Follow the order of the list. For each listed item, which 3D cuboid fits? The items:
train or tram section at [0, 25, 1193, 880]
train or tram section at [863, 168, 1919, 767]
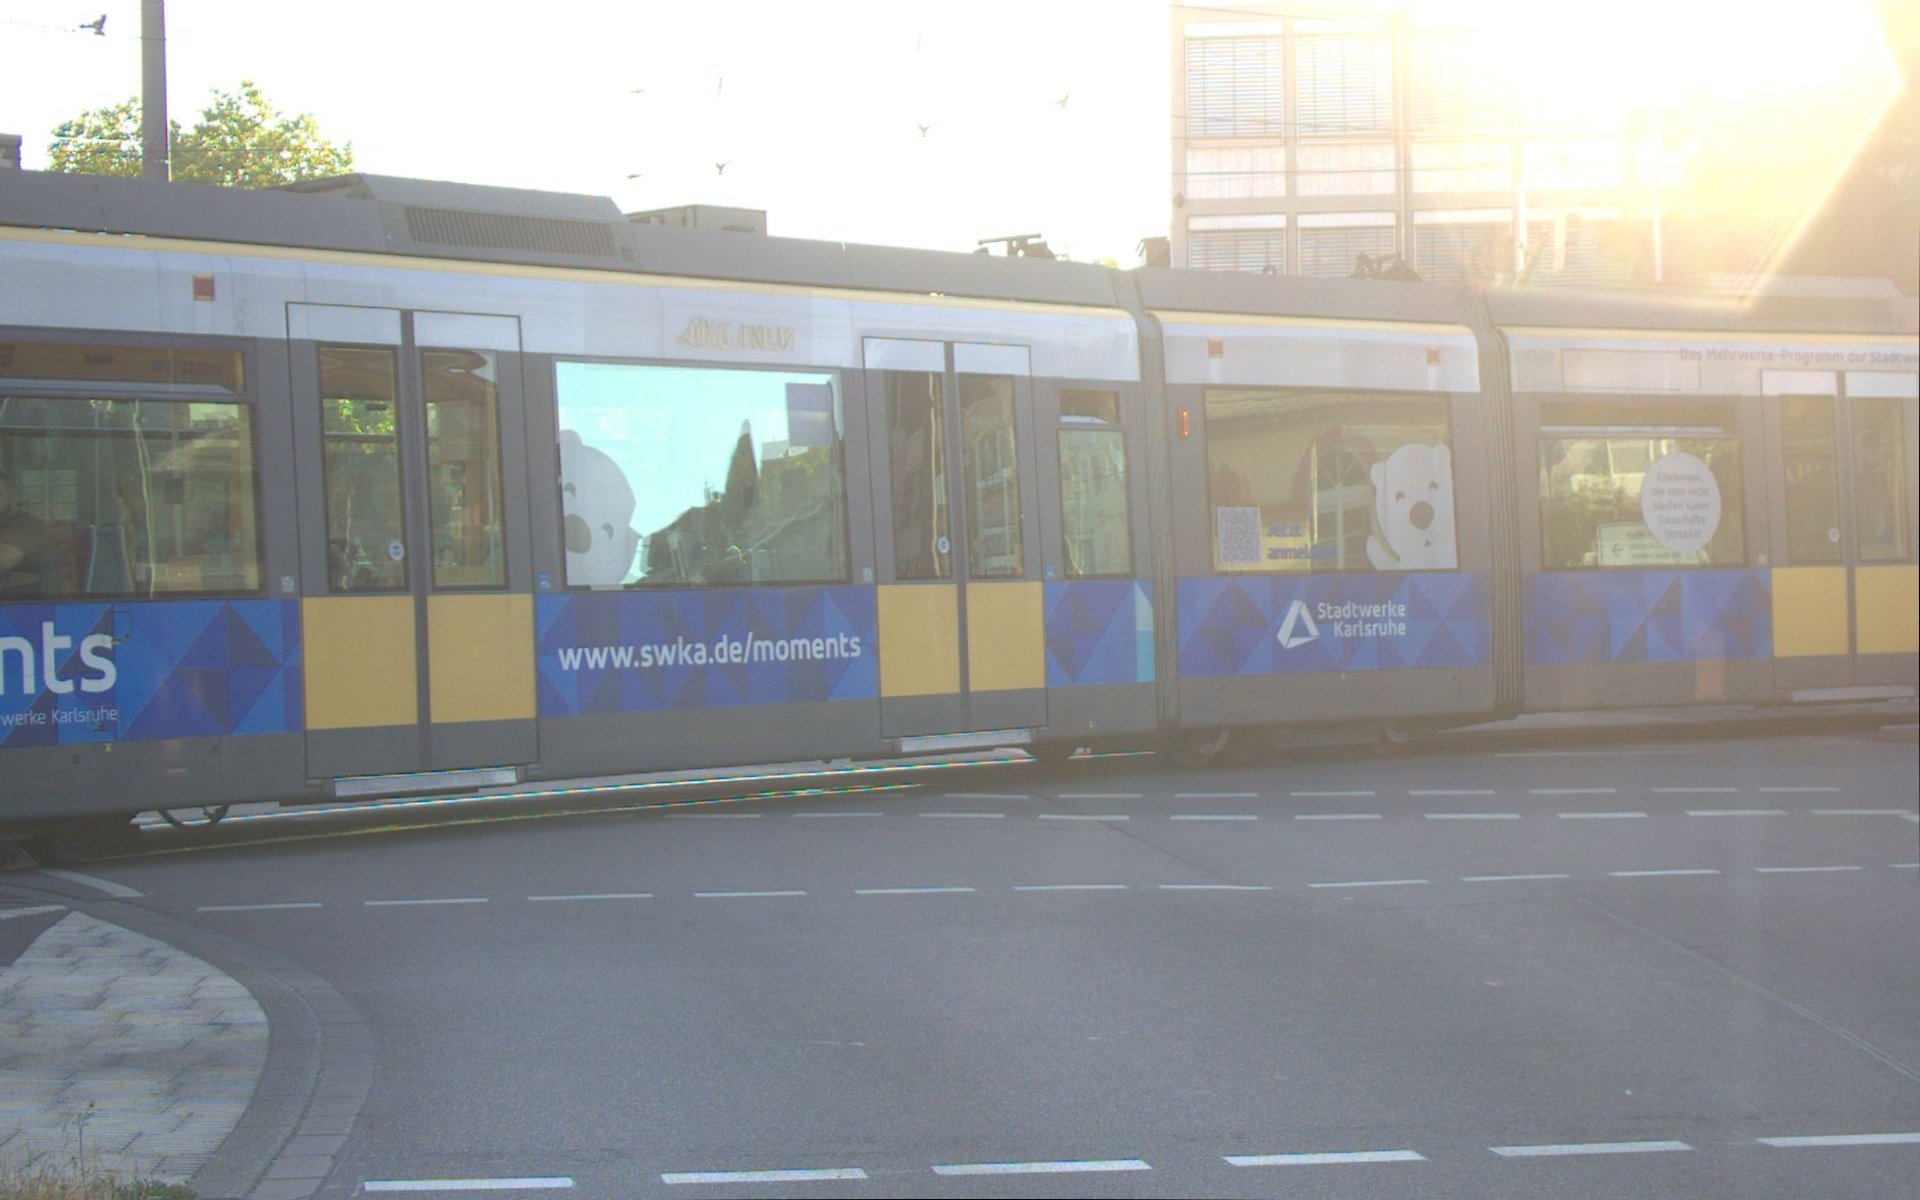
[{"bbox_3d":[-4.209,-0.688,18.330,3.712,3.820,13.329,0,1,40],"label":"train or tram section"},{"bbox_3d":[5.883,-0.995,26.618,12.936,3.820,3.716,-1,1,-28],"label":"train or tram section"}]
